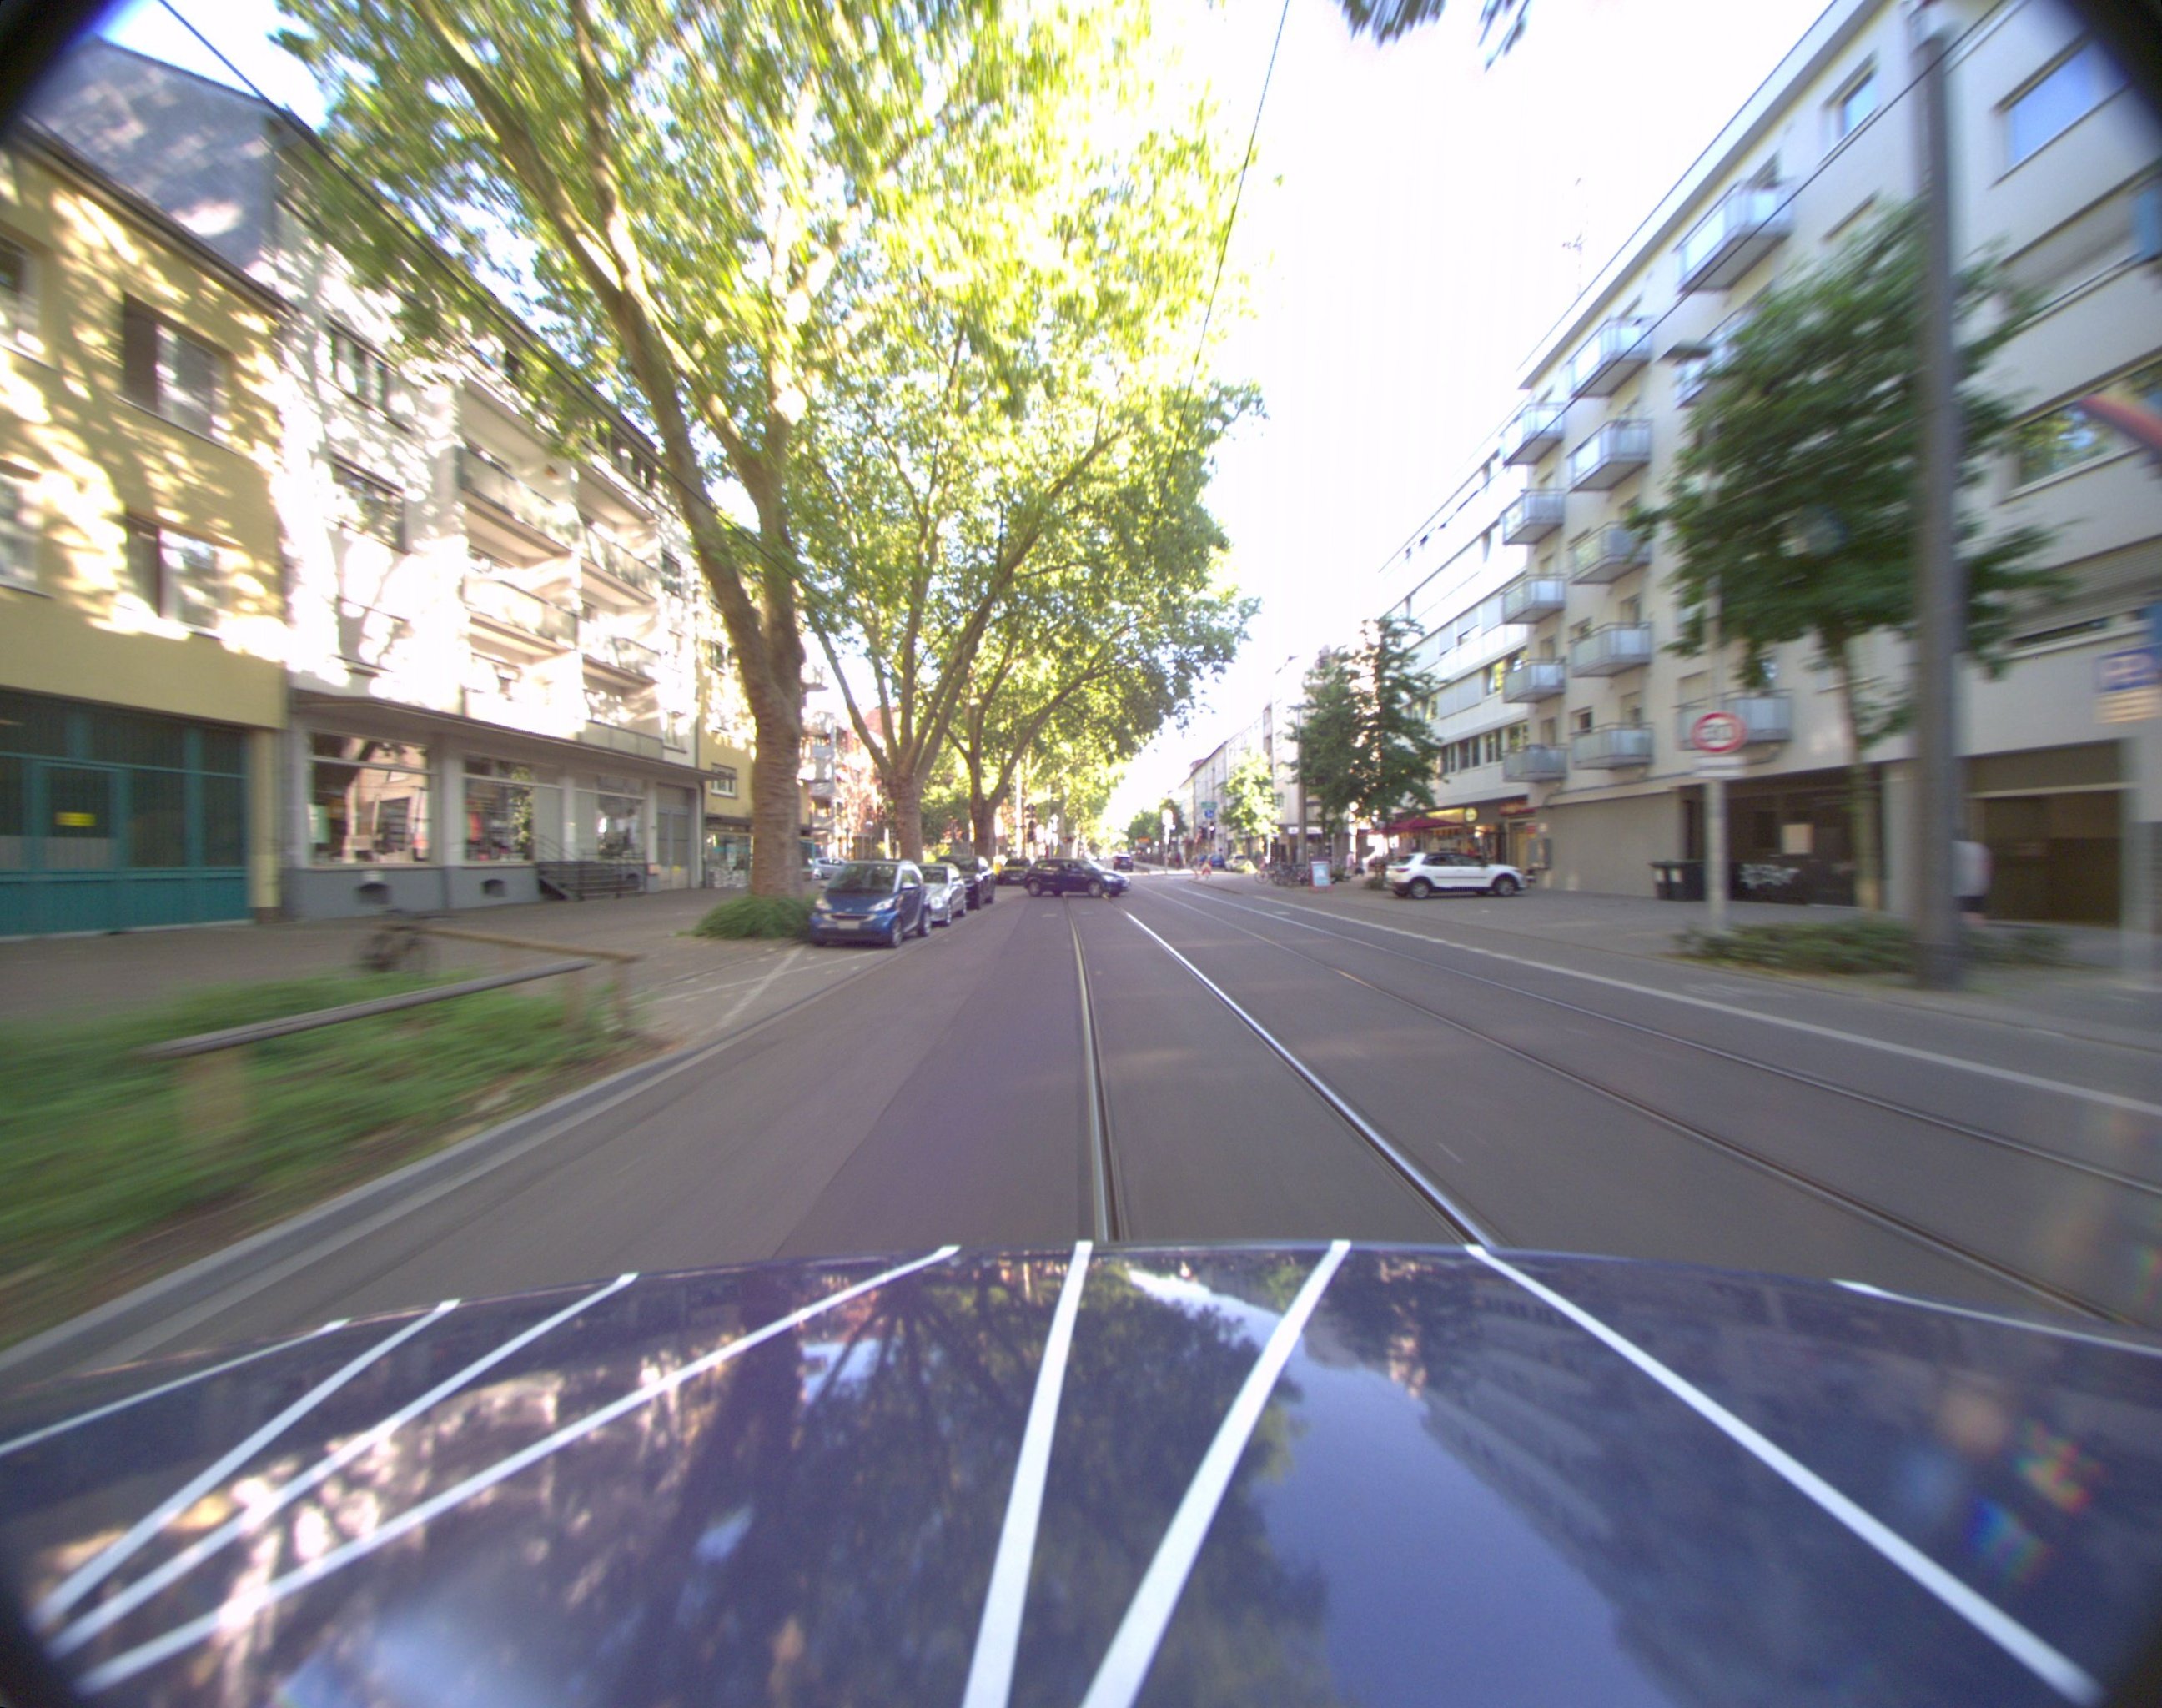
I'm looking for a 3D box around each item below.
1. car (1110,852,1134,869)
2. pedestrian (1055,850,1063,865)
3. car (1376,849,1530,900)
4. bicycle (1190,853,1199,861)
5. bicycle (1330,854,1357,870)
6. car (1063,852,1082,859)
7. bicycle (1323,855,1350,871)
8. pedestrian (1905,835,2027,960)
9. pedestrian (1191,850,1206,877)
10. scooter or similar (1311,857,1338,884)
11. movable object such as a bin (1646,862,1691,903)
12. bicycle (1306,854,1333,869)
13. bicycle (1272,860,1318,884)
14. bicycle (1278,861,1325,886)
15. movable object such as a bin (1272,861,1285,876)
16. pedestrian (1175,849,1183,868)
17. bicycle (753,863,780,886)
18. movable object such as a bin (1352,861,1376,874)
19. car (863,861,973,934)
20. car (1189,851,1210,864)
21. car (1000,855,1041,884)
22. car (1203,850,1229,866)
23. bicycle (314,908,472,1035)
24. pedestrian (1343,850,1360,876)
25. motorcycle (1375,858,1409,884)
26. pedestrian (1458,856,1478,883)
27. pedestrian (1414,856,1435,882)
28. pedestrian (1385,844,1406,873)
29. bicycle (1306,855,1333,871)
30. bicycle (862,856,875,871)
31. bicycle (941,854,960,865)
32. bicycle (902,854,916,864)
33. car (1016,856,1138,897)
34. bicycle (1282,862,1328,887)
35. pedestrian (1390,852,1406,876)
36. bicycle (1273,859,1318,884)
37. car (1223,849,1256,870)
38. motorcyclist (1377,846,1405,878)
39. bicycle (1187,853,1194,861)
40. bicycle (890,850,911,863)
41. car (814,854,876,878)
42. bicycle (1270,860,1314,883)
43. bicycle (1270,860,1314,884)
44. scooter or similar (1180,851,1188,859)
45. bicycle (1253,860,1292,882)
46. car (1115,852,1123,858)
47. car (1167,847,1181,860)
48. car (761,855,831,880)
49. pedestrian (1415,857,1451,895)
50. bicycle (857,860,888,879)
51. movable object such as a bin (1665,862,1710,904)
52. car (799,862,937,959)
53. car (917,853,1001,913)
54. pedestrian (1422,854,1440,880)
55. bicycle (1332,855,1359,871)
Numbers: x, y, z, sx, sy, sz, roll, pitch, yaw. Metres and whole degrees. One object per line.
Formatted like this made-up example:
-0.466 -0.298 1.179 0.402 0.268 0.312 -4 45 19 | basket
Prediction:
3.735 0.616 69.919 1.876 1.580 4.146 0 -1 -1 | car
-2.412 0.364 83.793 0.768 1.650 0.916 0 1 -4 | pedestrian
11.808 0.623 24.356 4.021 1.467 1.852 -1 1 4 | car
15.859 0.367 106.288 0.561 1.150 2.028 0 0 -14 | bicycle
19.375 0.612 56.087 1.789 1.150 0.572 0 1 -5 | bicycle
-1.803 0.273 164.242 3.871 1.521 2.000 0 0 3 | car
18.408 0.648 54.813 1.784 1.150 0.573 0 1 32 | bicycle
12.305 0.582 10.587 0.765 1.681 0.794 -1 1 0 | pedestrian
7.258 0.557 46.895 0.759 1.661 0.768 0 1 -4 | pedestrian
11.187 0.751 34.890 1.082 1.169 0.498 -2 1 0 | scooter or similar
15.326 0.732 19.831 0.679 1.049 0.622 0 1 3 | movable object such as a bin
17.548 0.550 55.927 1.862 1.150 0.572 0 1 6 | bicycle
9.640 0.810 34.241 1.834 1.001 0.657 -2 1 -3 | bicycle
9.615 0.842 33.110 1.834 1.001 0.657 -2 1 -3 | bicycle
12.422 0.877 47.686 0.541 0.927 0.649 0 1 -15 | movable object such as a bin
8.172 0.407 63.419 0.655 1.576 0.772 0 1 2 | pedestrian
-14.559 0.942 35.198 0.572 0.991 1.780 1 1 -3 | bicycle
16.989 0.797 45.570 1.197 0.753 0.665 -2 1 -20 | movable object such as a bin
-3.817 0.959 18.570 1.821 1.427 4.601 1 1 -2 | car
13.737 0.374 88.218 1.799 1.455 4.282 0 0 2 | car
-3.187 0.791 40.841 1.769 1.454 5.012 0 0 0 | car
13.624 0.387 76.987 1.961 1.535 4.389 0 0 2 | car
-6.958 1.132 7.659 1.964 1.000 0.512 3 1 27 | bicycle
15.969 0.518 44.852 0.727 1.547 0.768 0 1 -4 | pedestrian
14.094 0.762 34.503 0.851 1.157 1.915 0 0 4 | motorcycle
17.047 0.680 33.509 0.563 1.191 0.624 0 1 1 | pedestrian
16.170 0.709 35.761 0.603 1.191 0.690 -1 1 -33 | pedestrian
17.991 0.256 43.487 0.769 1.650 0.748 0 1 -15 | pedestrian
17.294 0.661 55.033 1.784 1.150 0.573 0 1 32 | bicycle
-17.076 0.769 61.104 0.601 1.150 1.697 1 1 -3 | bicycle
-14.573 0.613 84.915 2.035 1.150 0.572 1 1 7 | bicycle
-19.690 0.563 87.093 0.707 1.150 2.039 1 1 11 | bicycle
-0.171 0.827 28.607 4.214 1.429 1.874 -1 -1 33 | car
9.357 0.846 31.763 1.695 1.001 0.657 -2 1 -3 | bicycle
16.184 0.510 38.828 0.513 1.191 0.563 0 1 -15 | pedestrian
9.568 0.785 33.923 1.834 1.058 0.657 -2 1 -3 | bicycle
13.466 0.418 64.882 1.882 1.641 4.358 -2 0 1 | car
14.081 0.373 34.551 0.875 1.432 1.016 0 1 4 | motorcyclist
15.856 0.397 110.255 0.572 1.150 2.037 0 0 -4 | bicycle
-16.968 0.241 71.355 1.930 1.150 0.573 1 1 17 | bicycle
-17.240 0.851 55.625 3.871 1.683 1.866 0 0 1 | car
9.794 0.794 35.325 1.834 1.001 0.657 -2 1 -3 | bicycle
9.691 0.822 34.887 1.834 1.001 0.657 -2 1 -3 | bicycle
15.333 0.185 113.529 0.447 1.167 1.272 -1 1 -35 | scooter or similar
9.268 0.810 36.823 1.695 1.001 0.657 -2 1 -3 | bicycle
10.164 0.372 203.085 1.766 1.579 4.000 0 0 0 | car
14.892 -0.087 121.847 1.808 1.923 4.049 0 0 0 | car
-18.620 0.898 49.773 3.871 1.542 1.867 0 -2 1 | car
12.238 0.745 26.450 0.714 1.290 0.911 0 1 -12 | pedestrian
-13.100 0.988 47.749 1.799 1.150 0.744 1 1 -20 | bicycle
15.304 0.727 19.191 0.674 1.049 0.574 0 1 3 | movable object such as a bin
-3.806 0.951 14.030 1.567 1.510 2.910 1 1 4 | car
-3.728 0.827 23.961 1.862 1.594 4.781 1 1 0 | car
16.060 0.605 34.896 0.514 1.191 0.562 0 1 -27 | pedestrian
19.245 0.632 55.379 1.786 1.150 0.572 0 1 12 | bicycle
